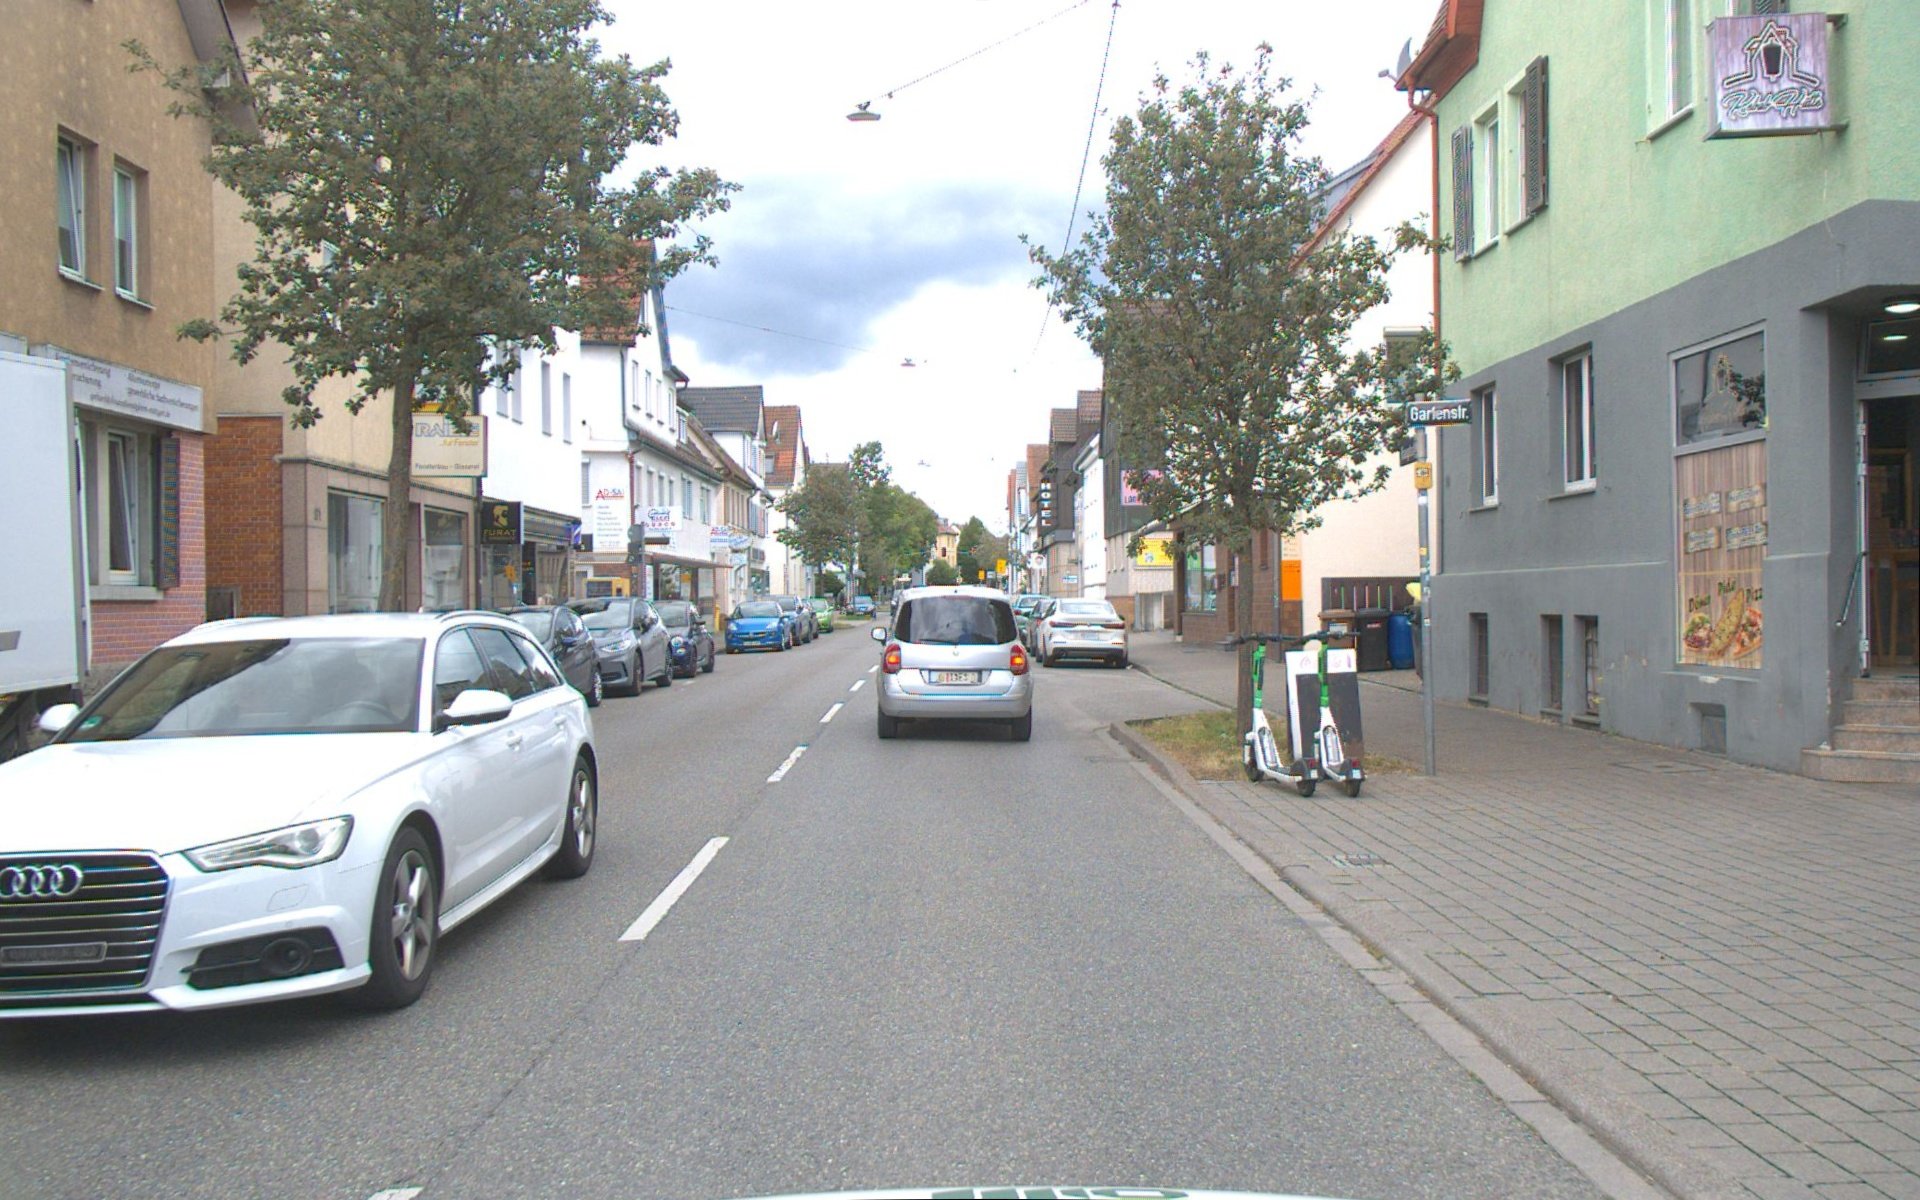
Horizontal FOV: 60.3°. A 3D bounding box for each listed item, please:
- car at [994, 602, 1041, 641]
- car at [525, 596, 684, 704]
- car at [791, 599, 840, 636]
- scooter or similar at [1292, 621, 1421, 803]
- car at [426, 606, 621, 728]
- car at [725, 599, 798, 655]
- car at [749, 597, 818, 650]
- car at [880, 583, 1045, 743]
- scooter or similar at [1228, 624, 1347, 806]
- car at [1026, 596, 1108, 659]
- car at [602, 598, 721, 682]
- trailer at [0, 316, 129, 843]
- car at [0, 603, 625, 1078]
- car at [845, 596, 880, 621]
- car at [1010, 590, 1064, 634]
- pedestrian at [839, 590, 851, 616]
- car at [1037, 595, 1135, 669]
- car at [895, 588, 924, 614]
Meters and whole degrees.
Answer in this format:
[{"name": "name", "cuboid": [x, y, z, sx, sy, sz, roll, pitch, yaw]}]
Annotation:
[{"name": "car", "cuboid": [2.236, 0.816, 65.608, 1.719, 1.471, 4.454, 1, 0, 0]}, {"name": "car", "cuboid": [-5.795, 0.767, 27.404, 1.675, 1.593, 4.113, -2, 0, 0]}, {"name": "car", "cuboid": [-6.152, 0.737, 70.671, 1.648, 1.473, 4.020, -2, 0, 0]}, {"name": "scooter or similar", "cuboid": [2.994, 0.805, 12.639, 0.492, 1.257, 1.942, 0, 0, -1]}, {"name": "car", "cuboid": [-5.891, 0.852, 22.762, 1.648, 1.449, 3.930, -2, 0, -1]}, {"name": "car", "cuboid": [-5.834, 0.778, 48.983, 1.648, 1.525, 3.775, -2, 0, 0]}, {"name": "car", "cuboid": [-5.816, 0.746, 54.968, 1.766, 1.627, 4.304, -2, 0, 0]}, {"name": "car", "cuboid": [0.038, 0.632, 18.659, 1.648, 1.593, 3.993, 1, 0, 0]}, {"name": "scooter or similar", "cuboid": [2.470, 0.827, 12.652, 0.492, 1.257, 1.942, 0, 0, -1]}, {"name": "car", "cuboid": [2.637, 0.659, 41.498, 1.793, 1.471, 4.110, 1, 0, 0]}, {"name": "car", "cuboid": [-5.897, 0.751, 33.046, 1.648, 1.519, 3.591, -2, 0, 0]}, {"name": "trailer", "cuboid": [-7.359, -0.097, 8.169, 2.450, 3.275, 7.140, 0, 1, 5]}, {"name": "car", "cuboid": [-2.891, 0.778, 7.511, 1.805, 1.458, 4.542, -2, 0, -1]}, {"name": "car", "cuboid": [-6.226, 0.539, 105.726, 1.908, 1.493, 4.516, -3, 0, 0]}, {"name": "car", "cuboid": [2.787, 0.416, 60.297, 1.793, 1.524, 3.993, 1, 0, 0]}, {"name": "pedestrian", "cuboid": [-8.123, 0.230, 116.934, 0.747, 1.822, 0.890, 0, 0, -1]}, {"name": "car", "cuboid": [2.636, 0.641, 35.503, 1.793, 1.471, 4.331, 1, 0, 0]}, {"name": "car", "cuboid": [-3.547, 0.061, 116.484, 1.862, 1.768, 4.366, -2, 0, 0]}]
